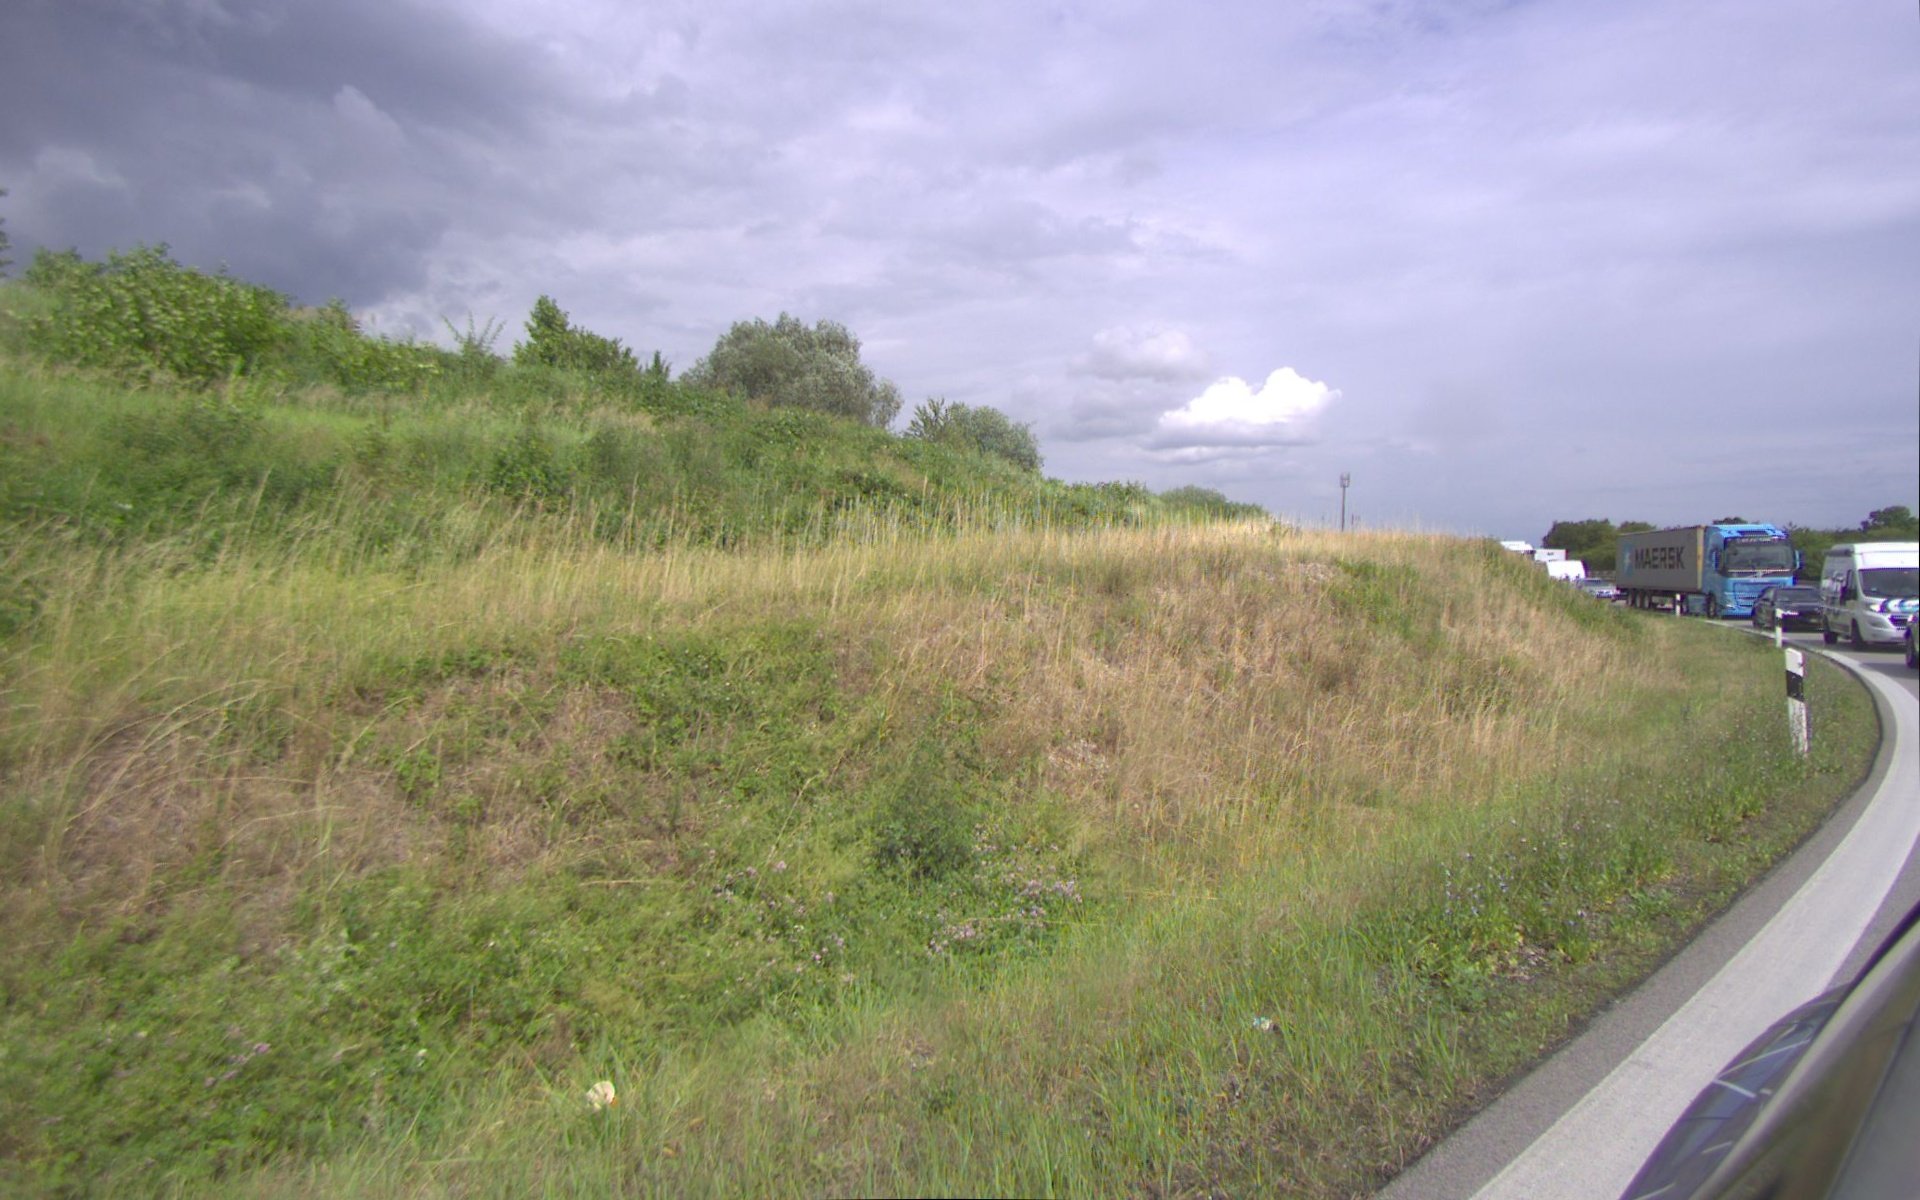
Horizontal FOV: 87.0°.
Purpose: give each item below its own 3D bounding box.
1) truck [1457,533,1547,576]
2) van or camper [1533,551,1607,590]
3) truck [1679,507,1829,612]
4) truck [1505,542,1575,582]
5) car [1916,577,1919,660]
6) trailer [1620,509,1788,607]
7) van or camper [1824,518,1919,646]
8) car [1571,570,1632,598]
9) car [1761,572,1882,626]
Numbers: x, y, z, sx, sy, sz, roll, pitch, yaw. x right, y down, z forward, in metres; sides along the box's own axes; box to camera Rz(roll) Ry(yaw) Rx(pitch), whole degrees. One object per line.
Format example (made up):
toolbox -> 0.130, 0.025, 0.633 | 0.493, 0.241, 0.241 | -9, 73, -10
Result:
truck -> 44.218, -3.663, 83.061 | 3.074, 3.279, 11.133 | 0, 2, 9
van or camper -> 40.601, -2.013, 67.547 | 2.514, 2.237, 5.695 | -1, 4, 12
truck -> 33.616, -1.625, 43.200 | 3.142, 4.124, 6.601 | 0, 1, 21
truck -> 54.899, -3.562, 96.112 | 2.846, 3.631, 8.924 | 0, 2, 10
car -> 18.543, 0.420, 17.950 | 1.834, 1.615, 4.118 | 2, 2, 37
trailer -> 35.918, -1.880, 49.532 | 3.234, 4.213, 11.941 | 0, 1, 19
van or camper -> 23.868, -0.468, 25.510 | 2.382, 2.945, 5.654 | 0, 1, 33
car -> 39.081, -1.010, 61.775 | 1.971, 1.548, 3.984 | 0, 3, 14
car -> 28.376, -0.093, 33.505 | 1.979, 1.638, 3.968 | 1, 2, 24
